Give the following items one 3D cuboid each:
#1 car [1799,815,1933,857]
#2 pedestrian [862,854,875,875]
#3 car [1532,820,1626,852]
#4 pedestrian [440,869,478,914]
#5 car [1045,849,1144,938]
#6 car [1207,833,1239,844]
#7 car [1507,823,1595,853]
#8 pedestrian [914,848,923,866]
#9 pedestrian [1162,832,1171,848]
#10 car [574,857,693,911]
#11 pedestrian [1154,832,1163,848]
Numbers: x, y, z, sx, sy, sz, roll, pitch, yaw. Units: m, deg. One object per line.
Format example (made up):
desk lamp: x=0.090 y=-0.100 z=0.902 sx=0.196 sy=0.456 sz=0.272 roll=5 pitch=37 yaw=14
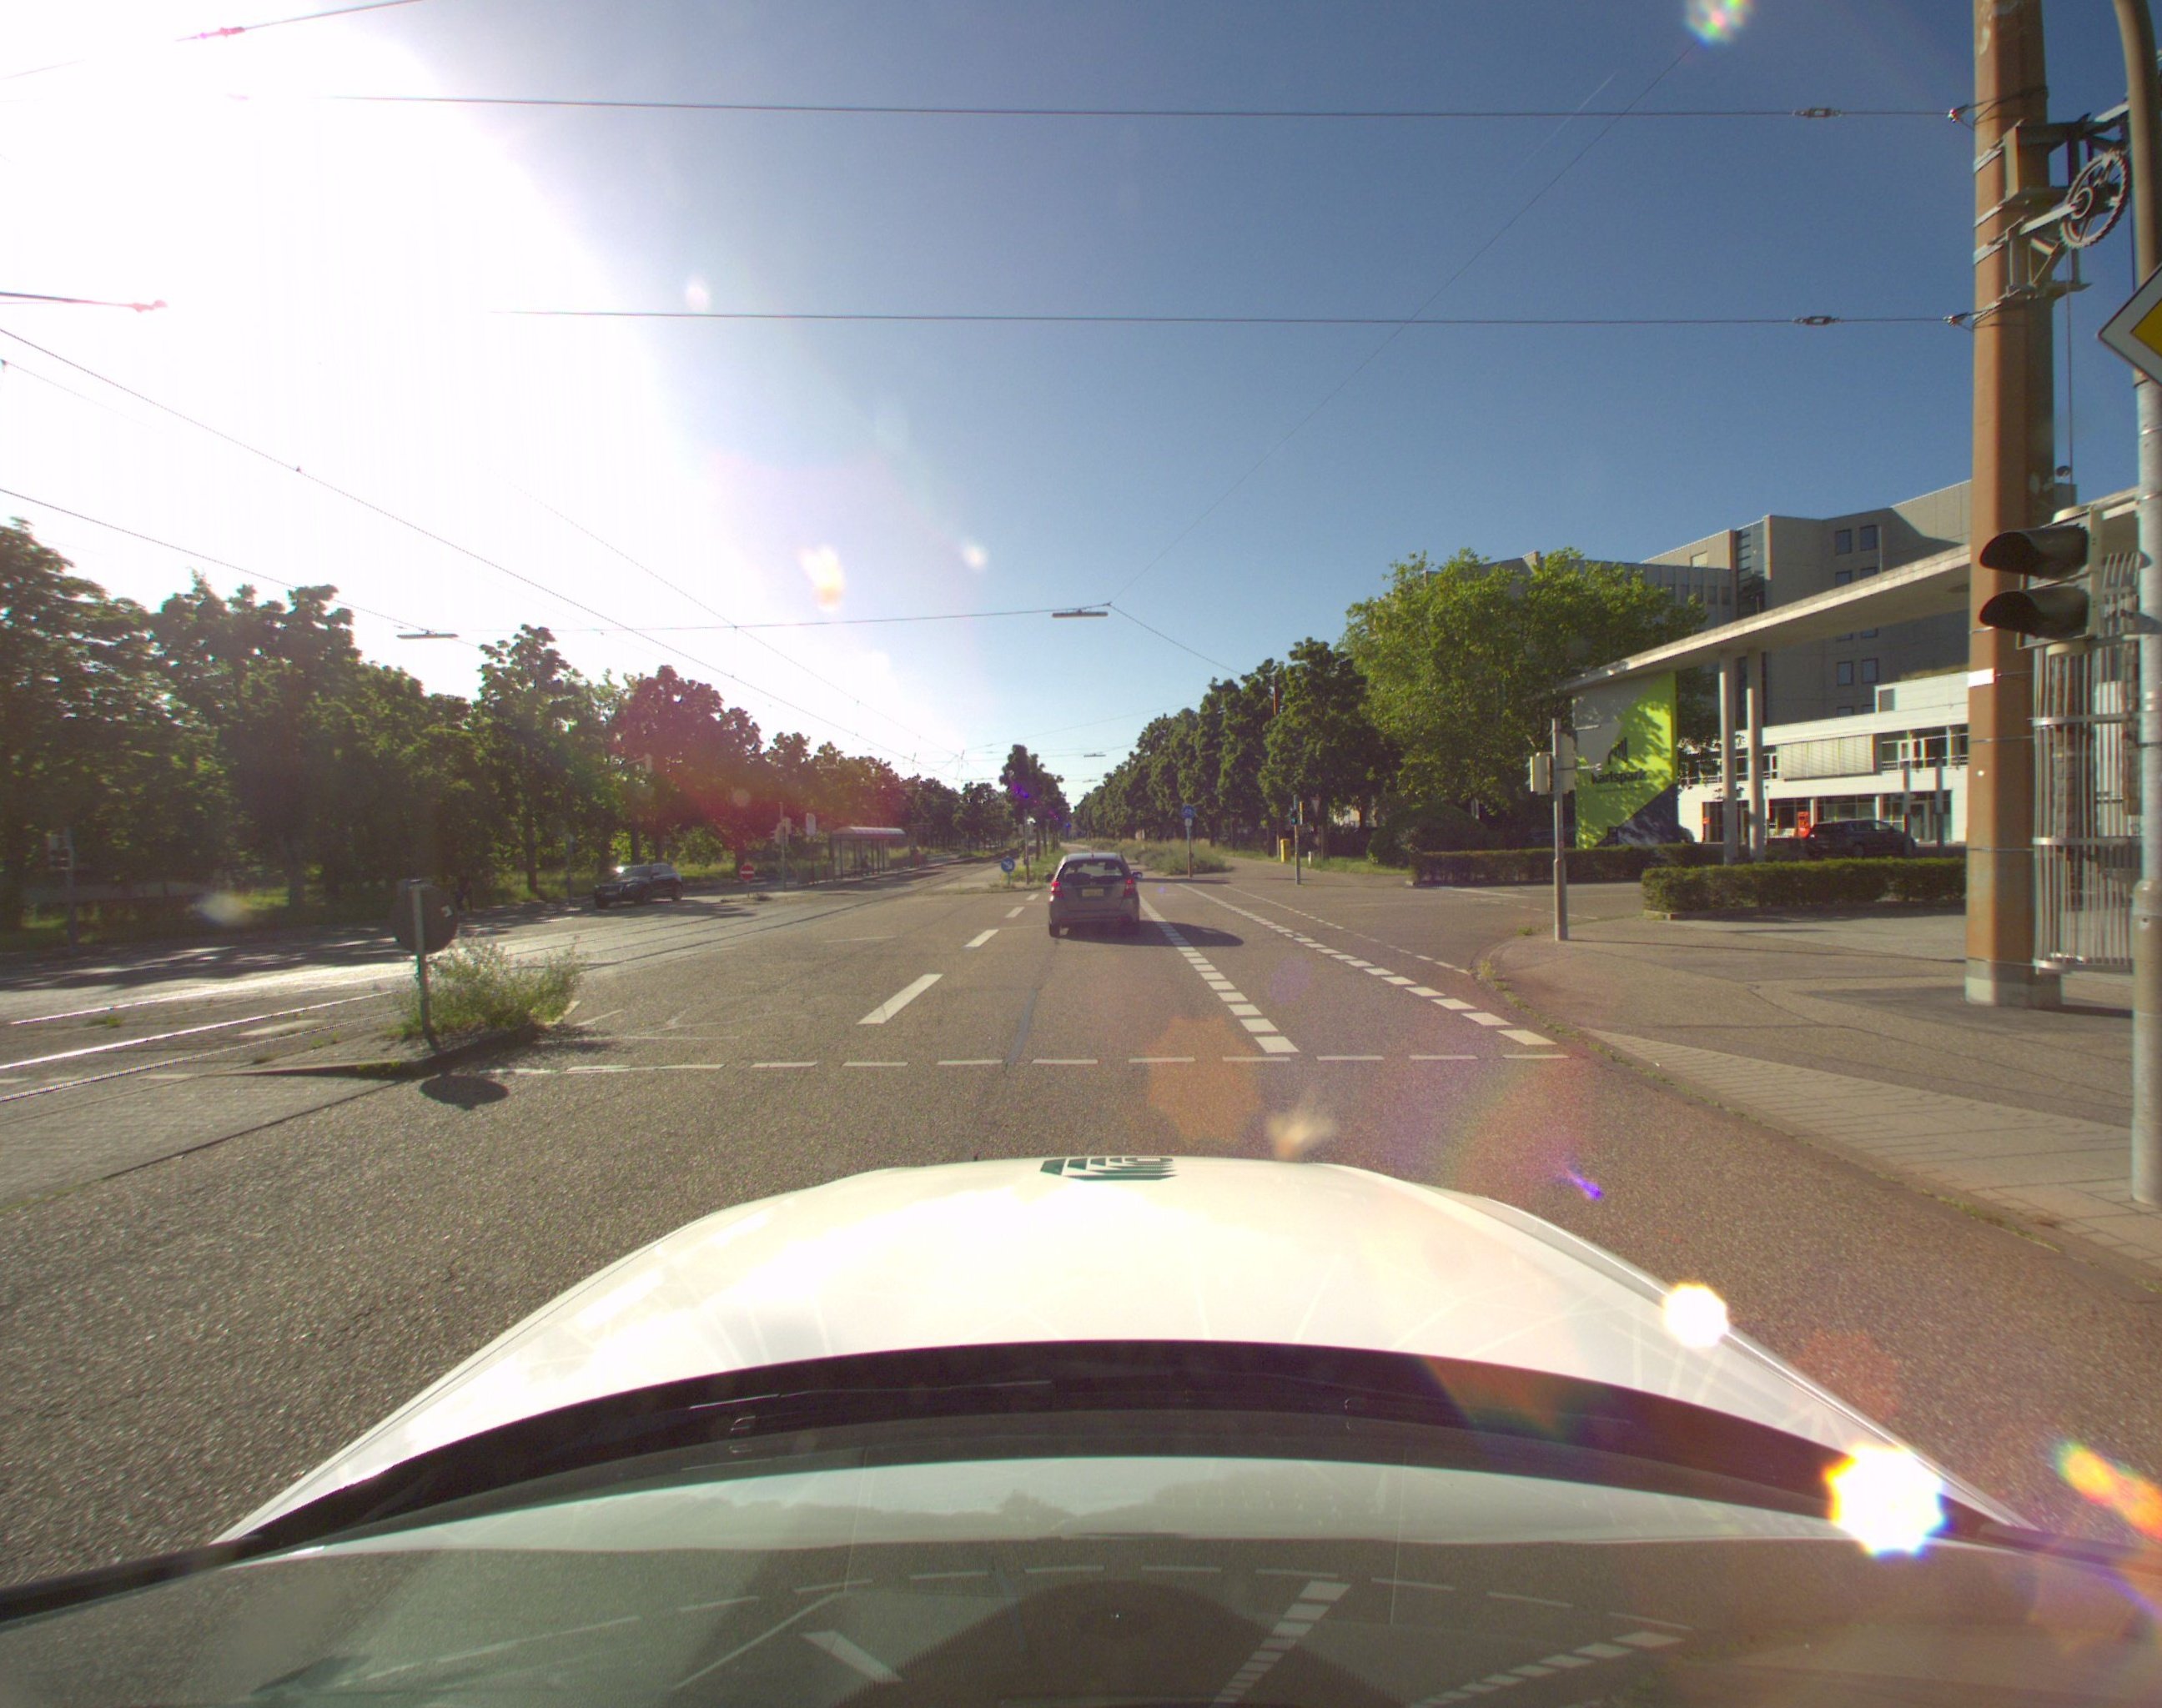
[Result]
car: x=32.696 y=-0.730 z=33.974 sx=3.984 sy=1.578 sz=1.949 roll=-2 pitch=0 yaw=-8
pedestrian: x=-13.098 y=0.647 z=50.230 sx=0.562 sy=1.257 sz=0.581 roll=-4 pitch=0 yaw=0
car: x=29.566 y=-1.048 z=48.419 sx=4.448 sy=1.686 sz=1.892 roll=-2 pitch=0 yaw=-5
pedestrian: x=-25.372 y=1.516 z=33.247 sx=0.751 sy=1.734 sz=0.943 roll=-2 pitch=1 yaw=30
car: x=0.288 y=0.694 z=16.112 sx=1.694 sy=1.524 sz=3.711 roll=-1 pitch=0 yaw=2
car: x=22.432 y=-2.402 z=128.546 sx=4.623 sy=1.555 sz=1.997 roll=-2 pitch=1 yaw=-5
car: x=29.379 y=-1.019 z=50.988 sx=4.448 sy=1.686 sz=1.892 roll=-2 pitch=0 yaw=-5
pedestrian: x=-12.956 y=0.252 z=64.799 sx=0.542 sy=1.447 sz=0.559 roll=-3 pitch=0 yaw=1
pedestrian: x=9.877 y=-1.620 z=93.859 sx=0.880 sy=1.884 sz=0.875 roll=-2 pitch=1 yaw=-2
car: x=-18.196 y=1.144 z=33.435 sx=2.087 sy=1.810 sz=4.792 roll=-4 pitch=1 yaw=0
pedestrian: x=8.939 y=-1.605 z=93.862 sx=0.880 sy=1.884 sz=0.875 roll=-2 pitch=1 yaw=-2
